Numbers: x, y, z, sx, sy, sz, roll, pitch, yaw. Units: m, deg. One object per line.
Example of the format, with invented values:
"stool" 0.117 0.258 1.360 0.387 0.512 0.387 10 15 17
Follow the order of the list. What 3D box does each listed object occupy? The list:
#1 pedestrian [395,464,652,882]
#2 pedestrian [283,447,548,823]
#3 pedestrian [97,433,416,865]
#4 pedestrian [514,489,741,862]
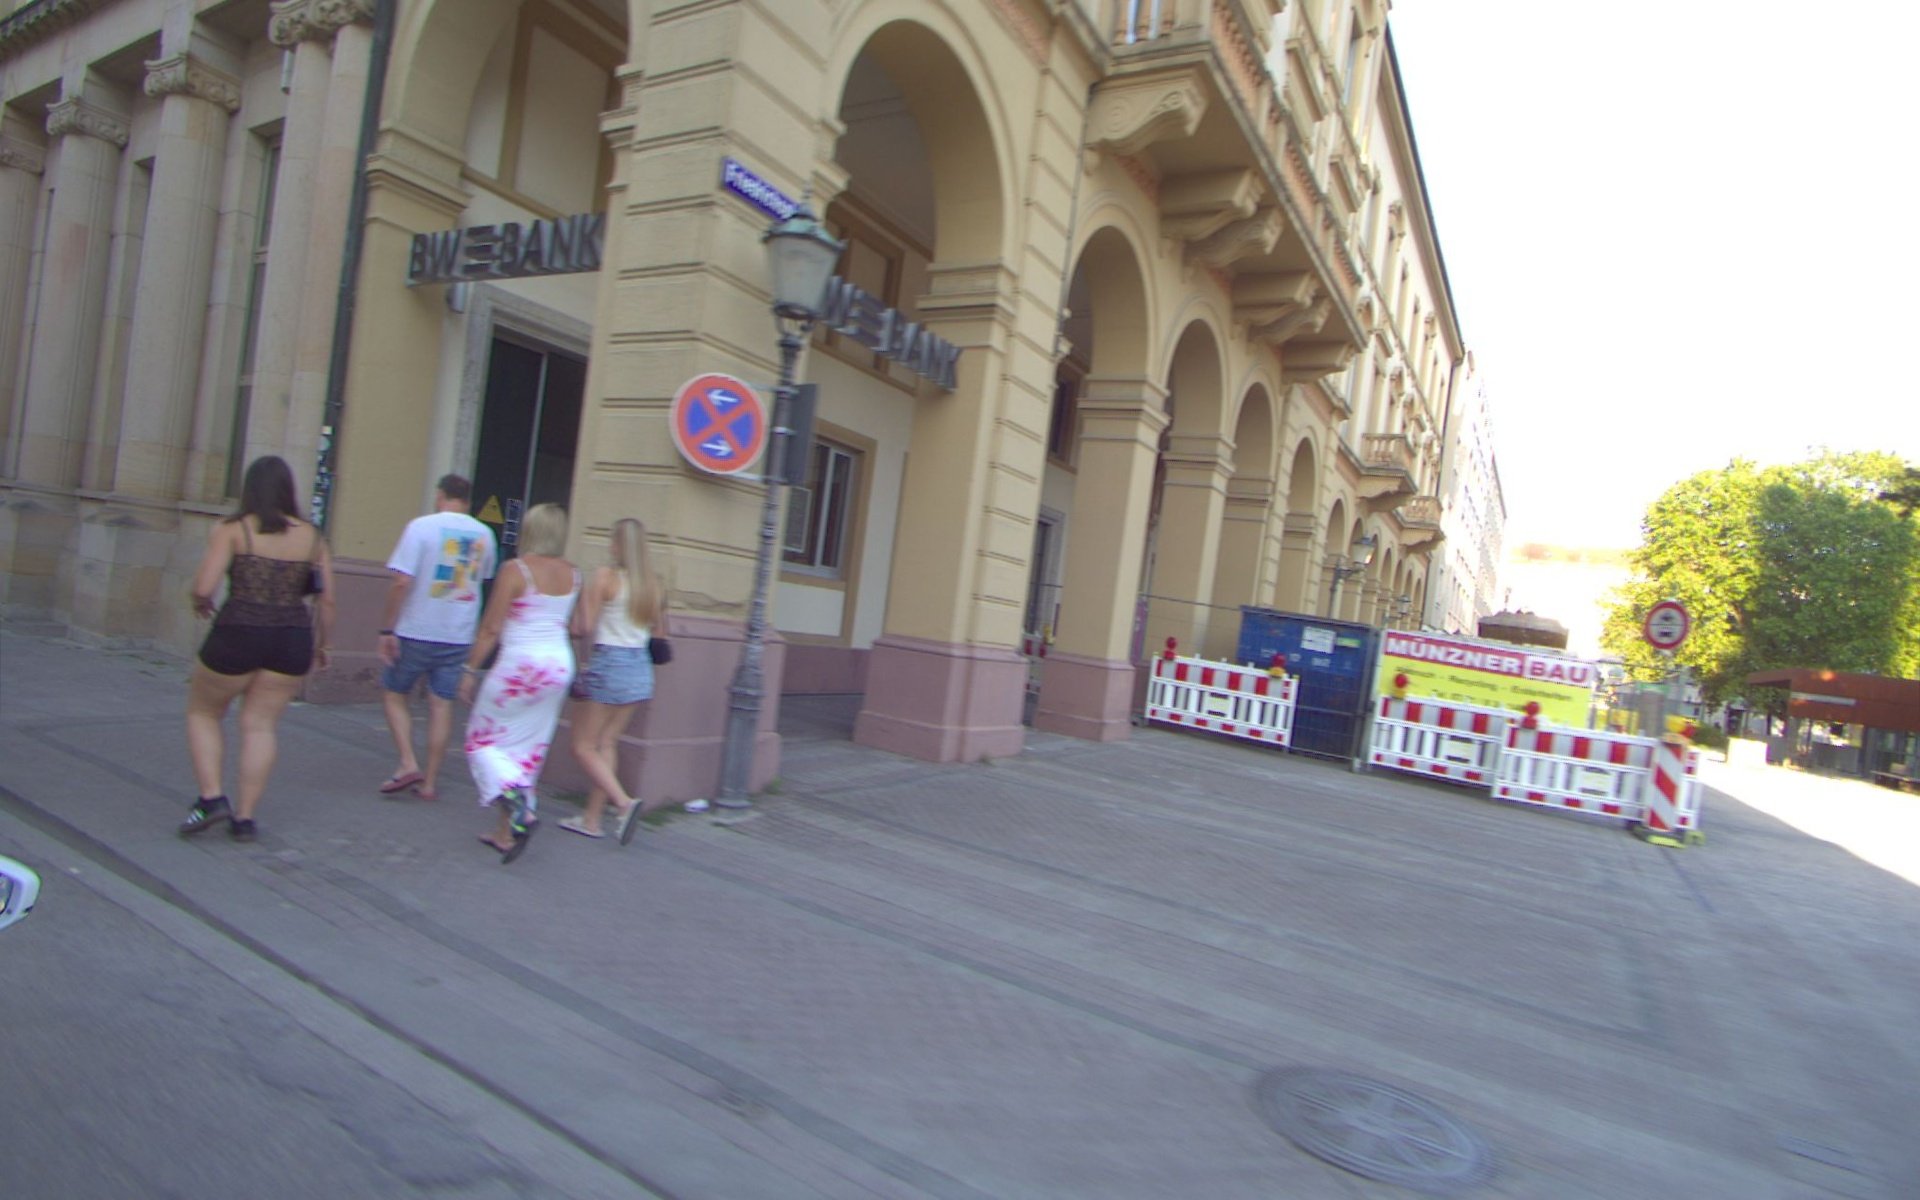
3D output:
"pedestrian" -2.110 0.321 4.886 0.759 1.825 0.637 7 0 31
"pedestrian" -3.052 0.178 5.670 0.860 1.898 0.813 7 0 30
"pedestrian" -3.249 0.197 4.670 0.860 1.767 0.777 7 0 31
"pedestrian" -1.796 0.380 5.455 0.759 1.825 0.637 7 0 31
